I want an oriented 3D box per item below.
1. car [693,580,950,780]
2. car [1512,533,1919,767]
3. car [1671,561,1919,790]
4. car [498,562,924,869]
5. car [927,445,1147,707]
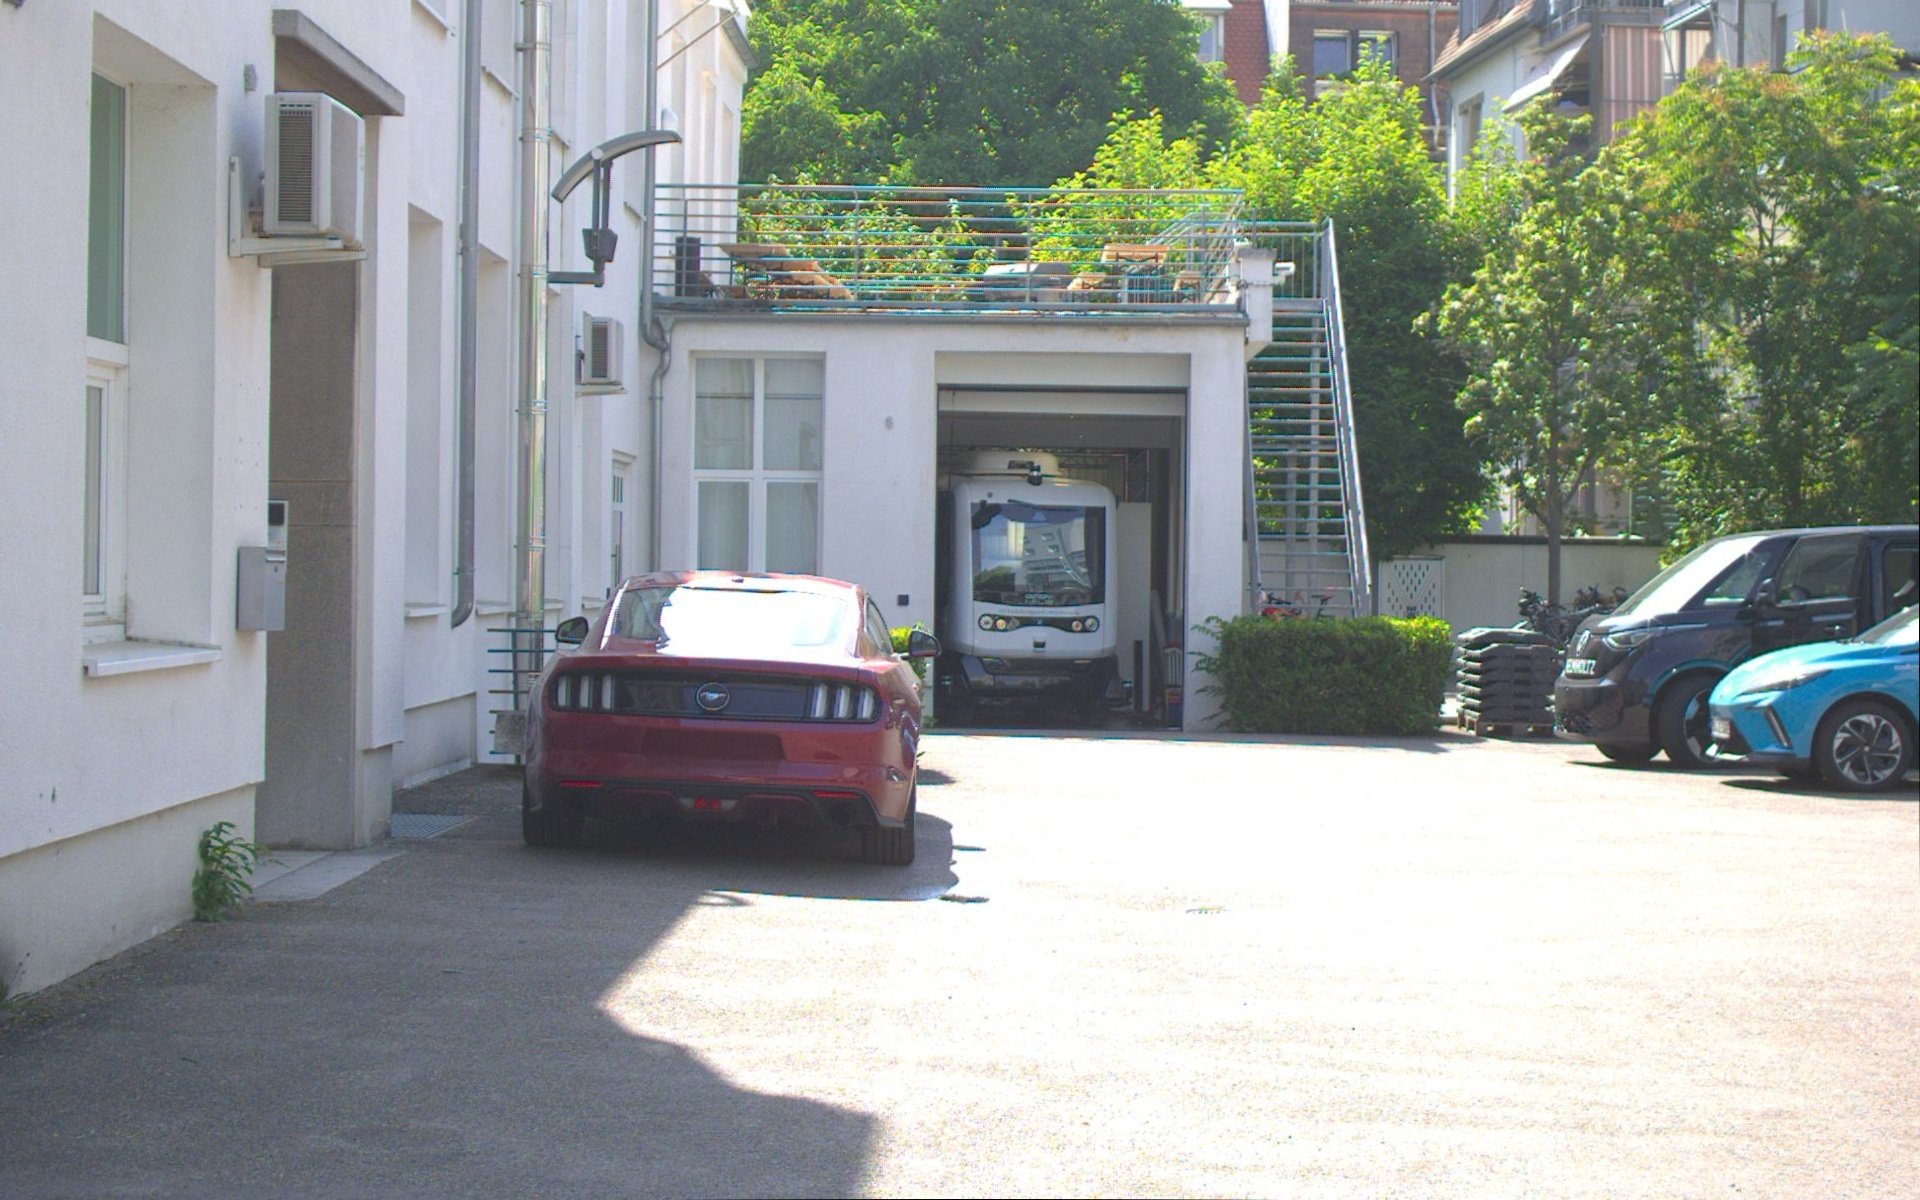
[{"bbox_3d":[-0.926,0.520,24.684,1.614,1.291,3.759,0,1,1],"label":"car"},{"bbox_3d":[7.180,0.349,27.783,4.950,1.761,2.097,0,1,-11],"label":"car"},{"bbox_3d":[7.418,0.501,24.525,4.228,1.527,2.000,0,1,-2],"label":"car"},{"bbox_3d":[-1.162,0.507,17.719,1.852,1.315,4.000,2,1,0],"label":"car"},{"bbox_3d":[0.836,-0.246,37.498,2.174,2.598,6.734,0,0,1],"label":"car"}]
